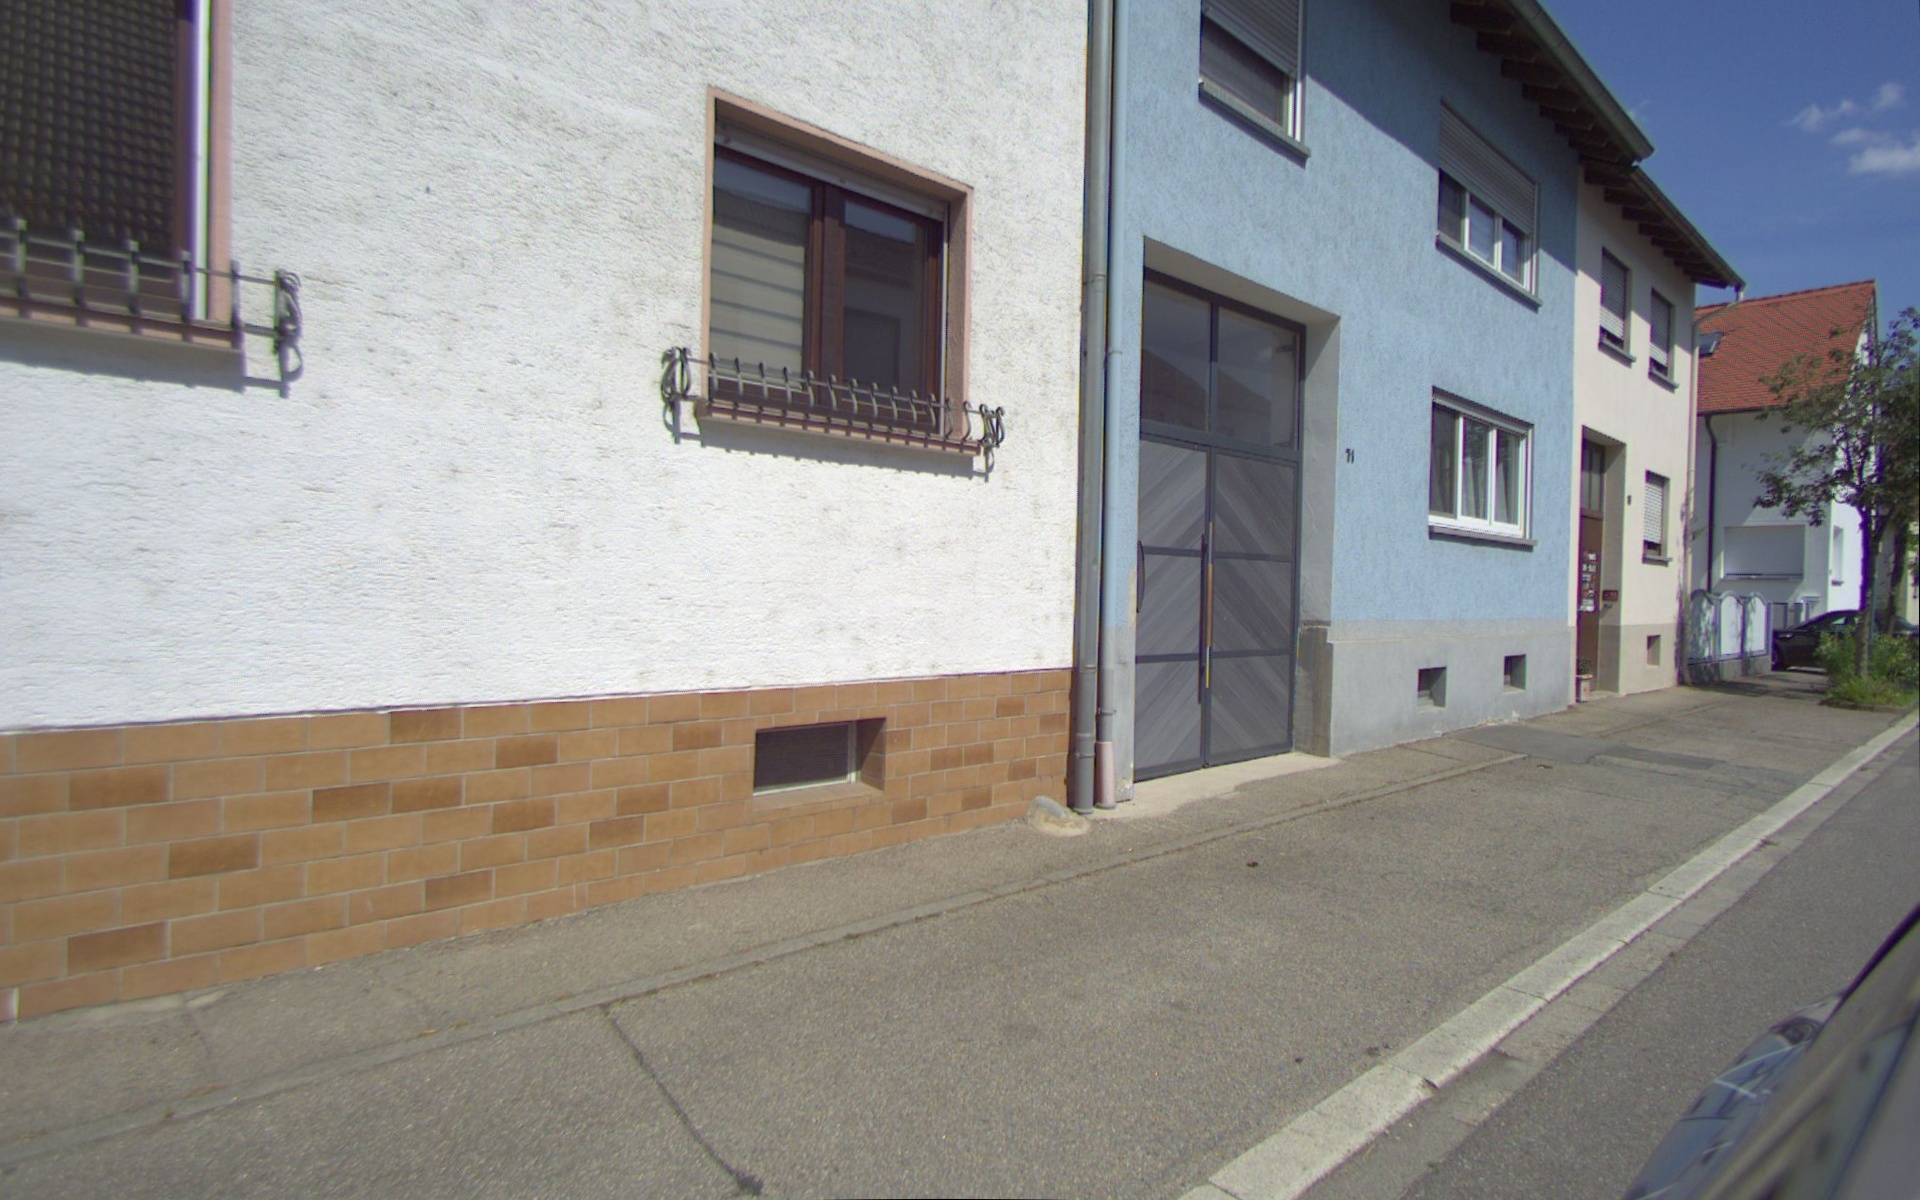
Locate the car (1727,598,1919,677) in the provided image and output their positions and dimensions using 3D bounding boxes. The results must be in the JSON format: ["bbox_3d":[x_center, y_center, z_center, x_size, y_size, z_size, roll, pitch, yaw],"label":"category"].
[{"bbox_3d":[18.705,0.740,21.260,1.696,1.446,3.817,1,1,-37],"label":"car"}]
